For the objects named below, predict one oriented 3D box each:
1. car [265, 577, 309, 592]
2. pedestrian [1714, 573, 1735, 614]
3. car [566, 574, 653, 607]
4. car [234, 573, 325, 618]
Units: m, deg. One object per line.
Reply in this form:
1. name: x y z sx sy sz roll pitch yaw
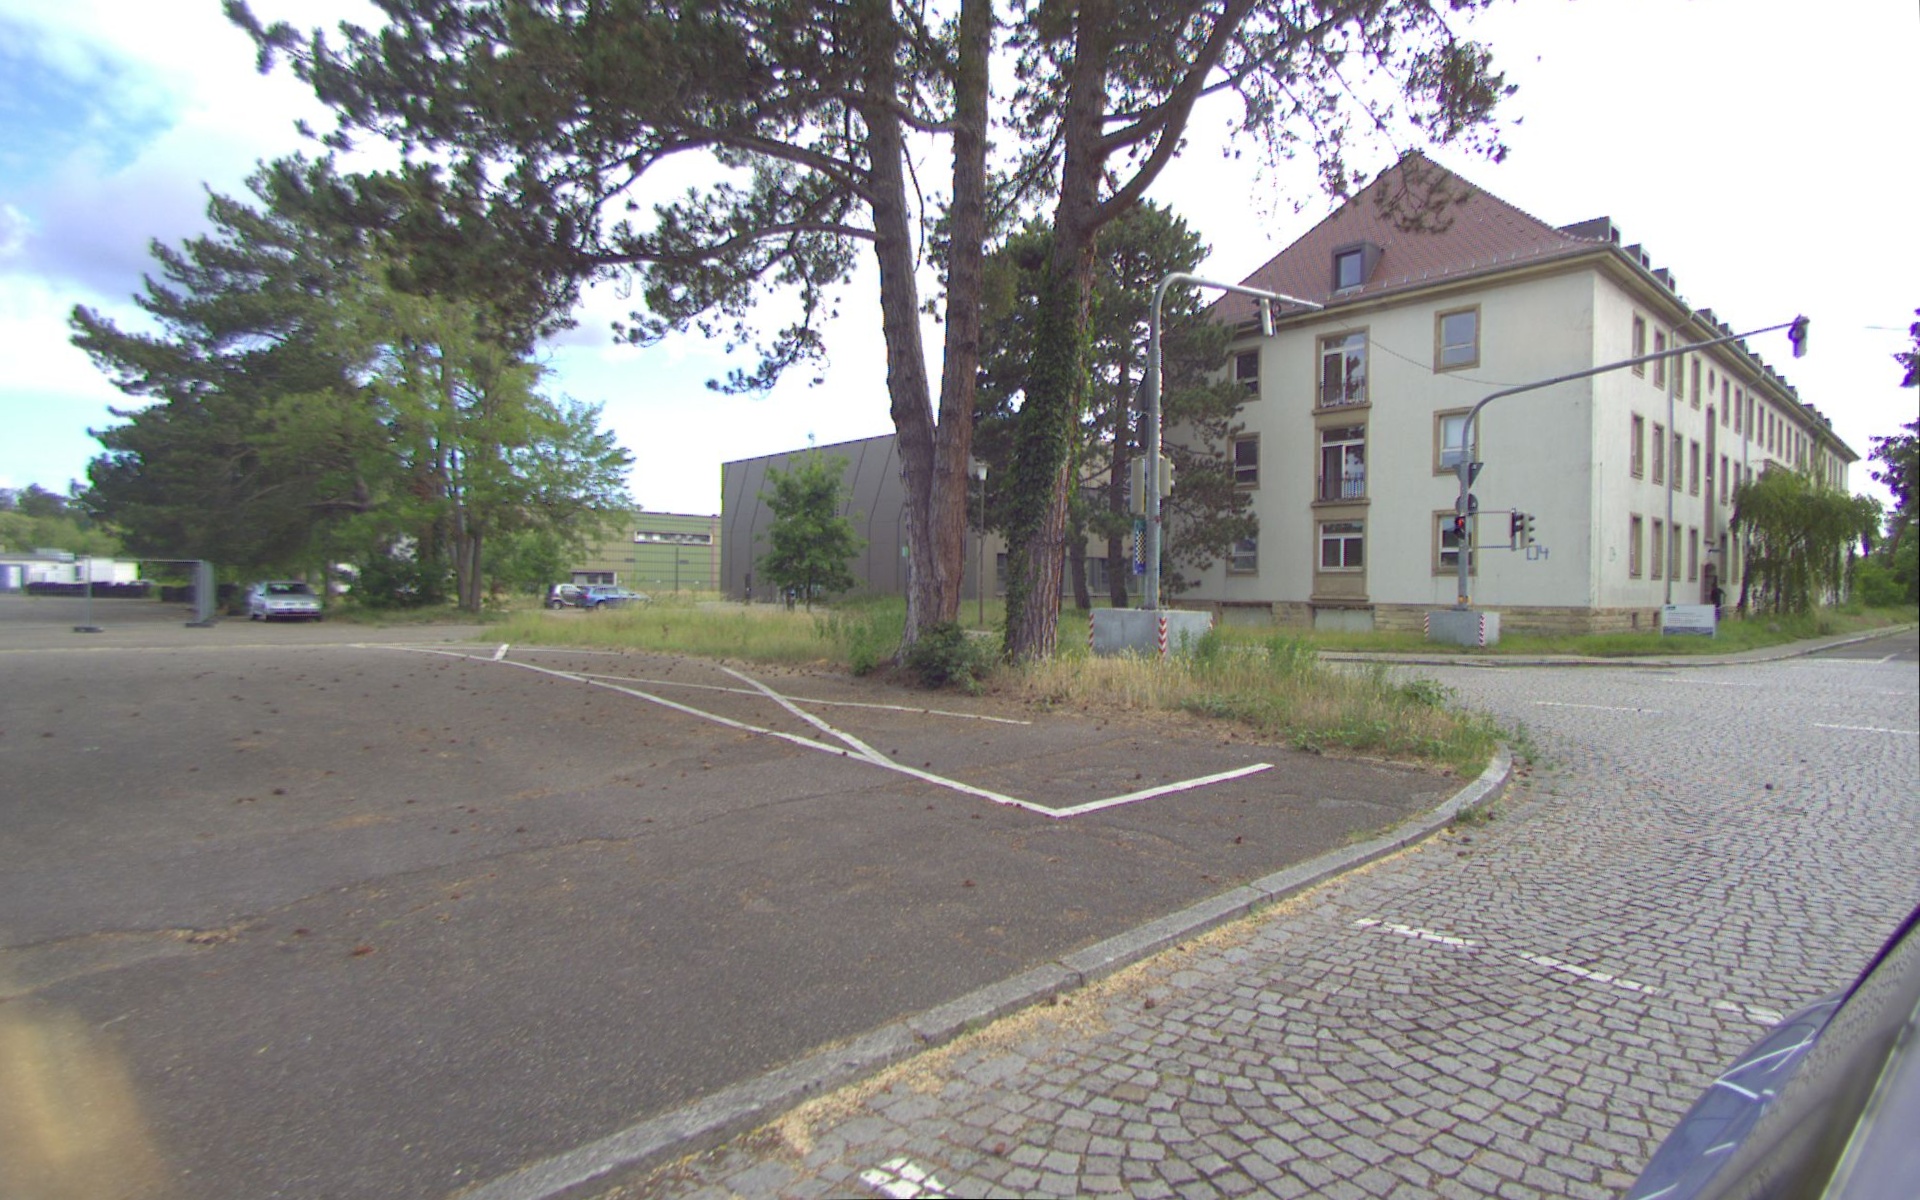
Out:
1. car: -84.193 -1.953 126.640 4.402 1.854 1.995 0 1 -44
2. pedestrian: 32.234 -0.271 42.675 0.522 1.722 0.568 0 0 -39
3. car: -20.415 -0.578 59.021 4.402 1.854 1.995 0 1 -44
4. car: -24.016 -0.191 35.672 1.941 1.501 3.989 0 1 -45
